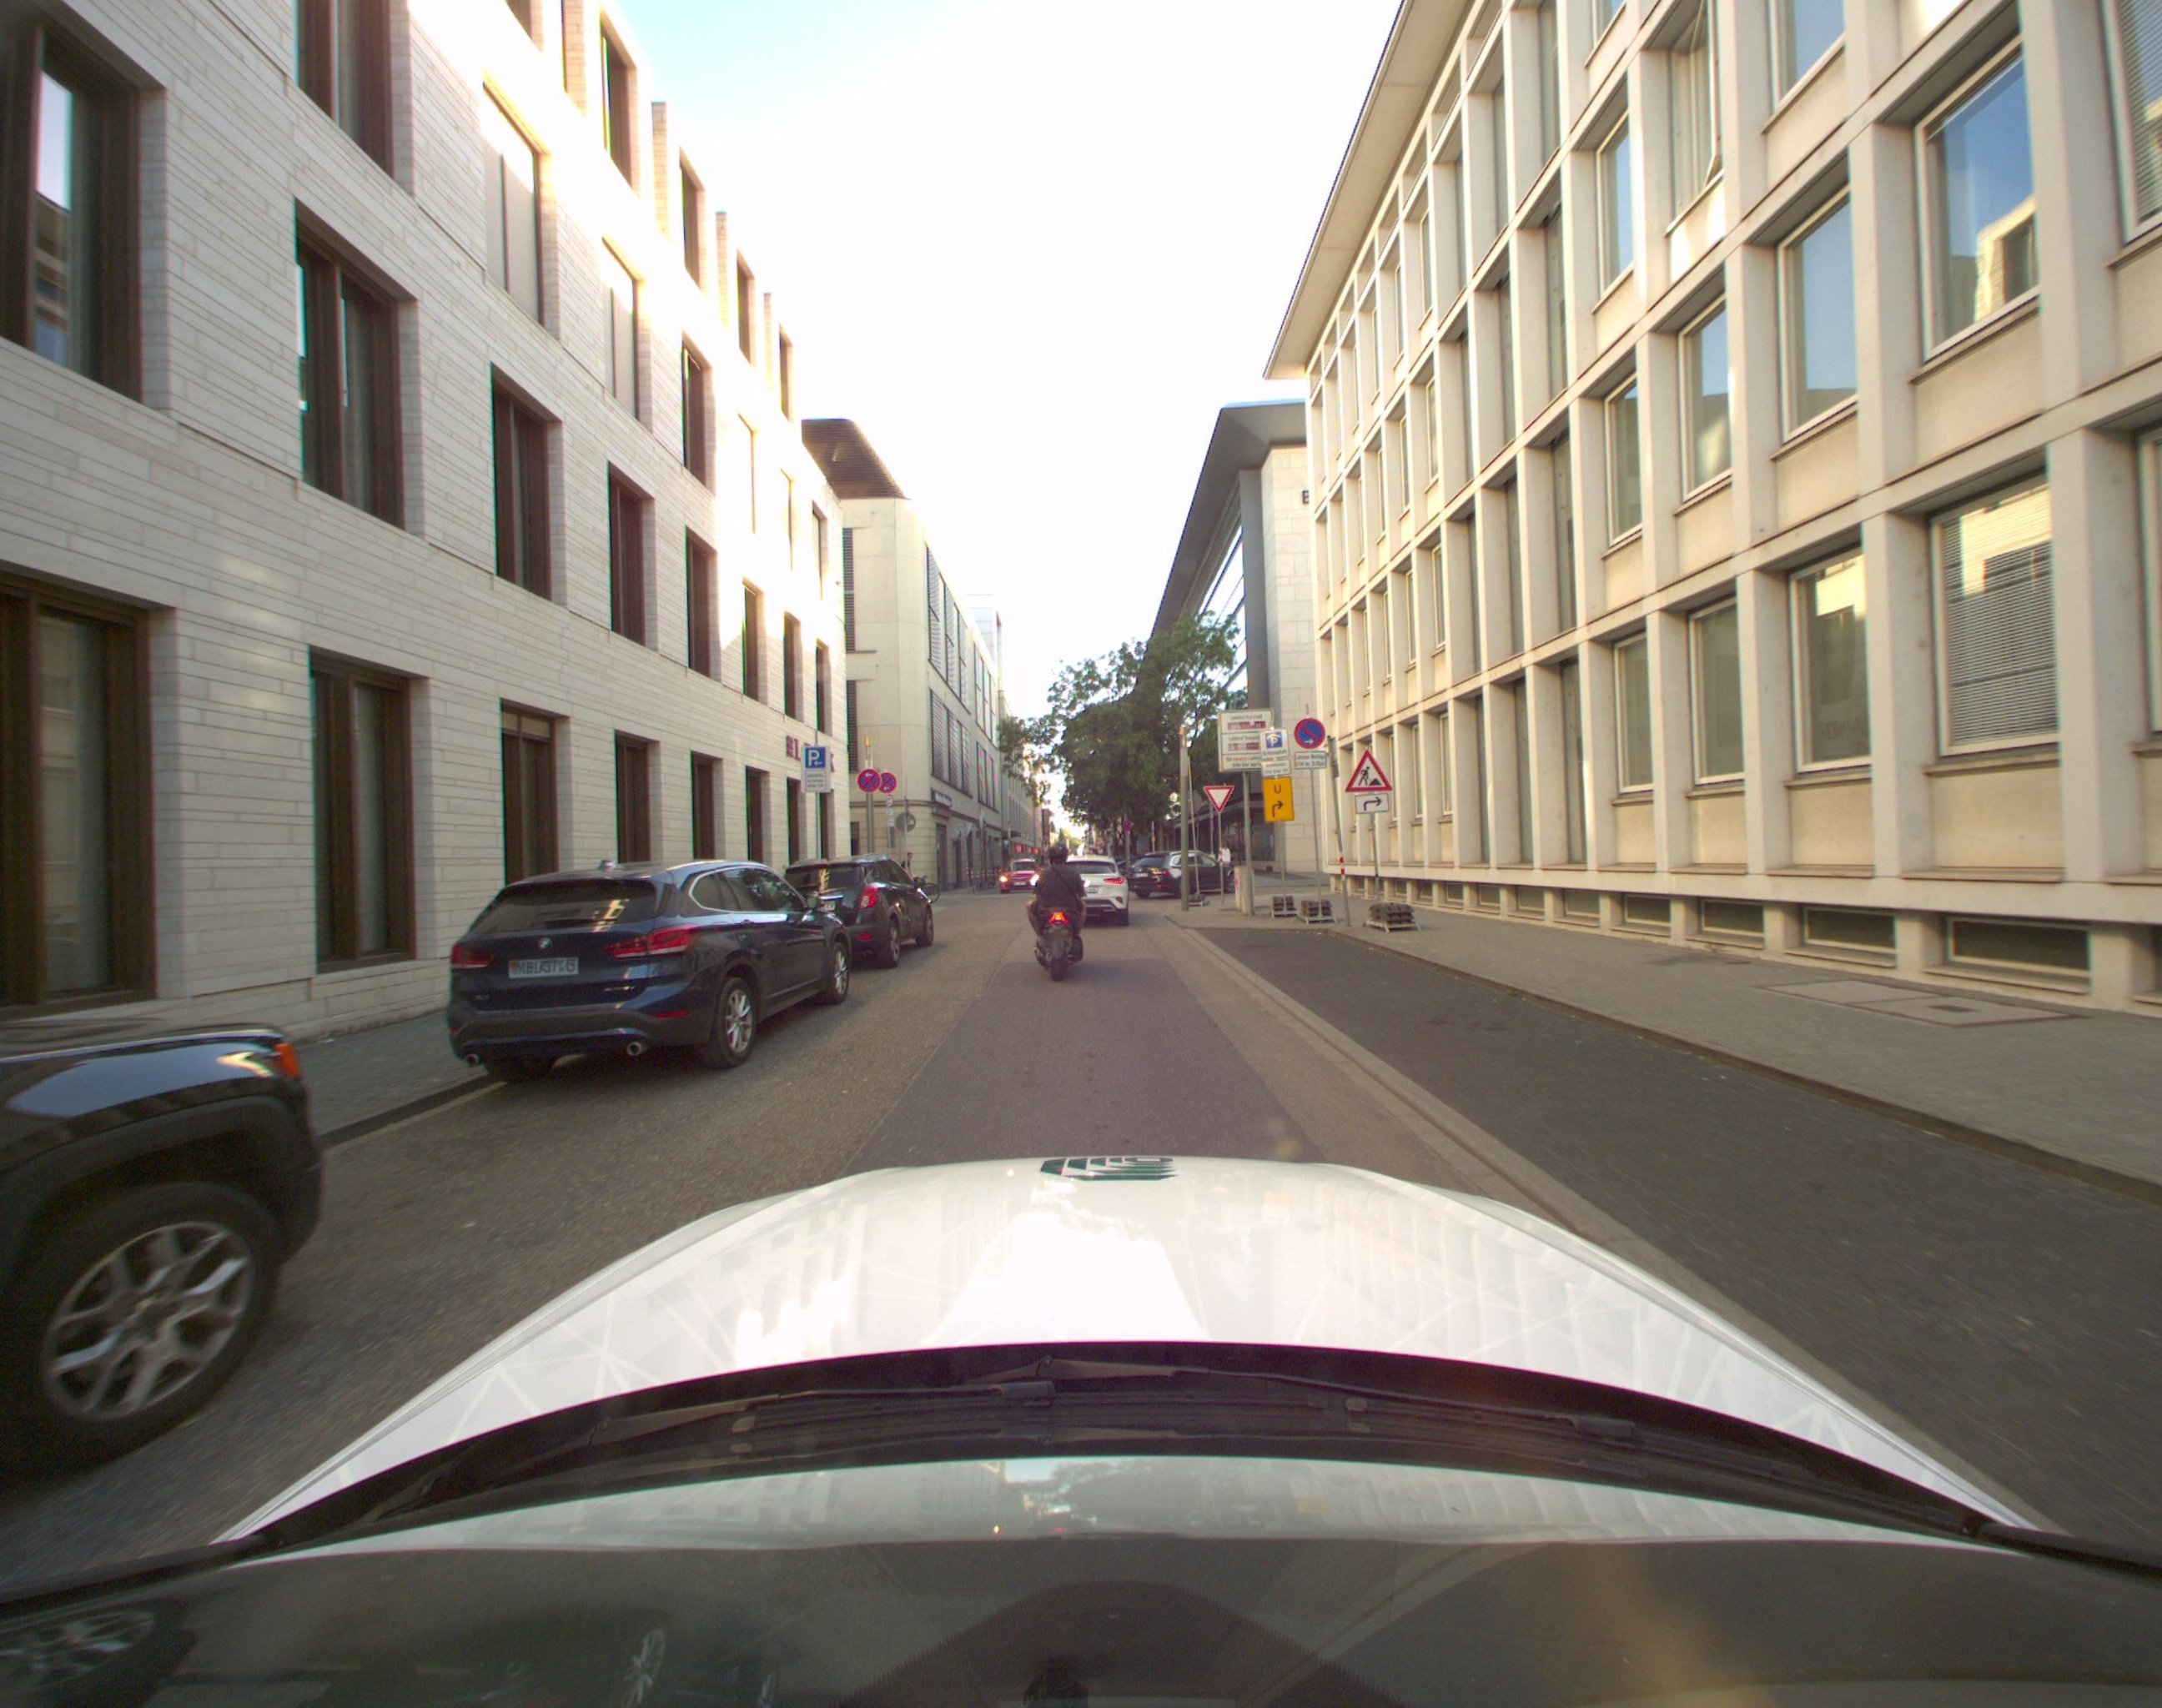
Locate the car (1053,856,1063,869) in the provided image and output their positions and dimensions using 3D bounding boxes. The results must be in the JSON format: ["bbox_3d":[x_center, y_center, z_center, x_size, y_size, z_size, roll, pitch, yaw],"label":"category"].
[{"bbox_3d":[-4.441,1.654,157.998,1.989,2.329,5.016,0,0,-2],"label":"car"}]

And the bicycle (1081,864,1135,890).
[{"bbox_3d":[1.087,0.909,32.864,2.107,0.995,0.515,-1,-1,-18],"label":"bicycle"}]

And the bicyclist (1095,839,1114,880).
[{"bbox_3d":[0.944,0.229,32.838,0.631,1.625,0.495,-1,-1,-18],"label":"bicyclist"}]

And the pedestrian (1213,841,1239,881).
[{"bbox_3d":[6.511,0.298,36.588,0.902,1.706,0.834,-5,-1,1],"label":"pedestrian"}]

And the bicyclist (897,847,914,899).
[{"bbox_3d":[-5.931,0.655,27.544,0.550,1.732,0.499,-1,-1,-11],"label":"bicyclist"}]

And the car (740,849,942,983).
[{"bbox_3d":[-3.574,0.818,13.010,1.816,1.677,4.264,-4,0,0],"label":"car"}]

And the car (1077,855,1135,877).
[{"bbox_3d":[2.187,1.054,72.405,4.993,1.499,1.998,-6,-1,-3],"label":"car"}]

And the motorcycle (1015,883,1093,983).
[{"bbox_3d":[-0.303,0.948,10.389,0.869,1.109,1.840,-1,-1,1],"label":"motorcycle"}]

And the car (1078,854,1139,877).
[{"bbox_3d":[2.297,0.993,69.892,4.993,1.499,1.998,-6,-1,-3],"label":"car"}]

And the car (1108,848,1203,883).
[{"bbox_3d":[4.134,0.629,45.665,4.993,1.451,1.998,-6,-1,-3],"label":"car"}]

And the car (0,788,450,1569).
[{"bbox_3d":[-3.311,0.769,1.025,1.817,1.714,4.016,-4,0,-1],"label":"car"}]

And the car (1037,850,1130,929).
[{"bbox_3d":[0.025,0.709,18.555,1.817,1.541,4.262,-2,0,-1],"label":"car"}]

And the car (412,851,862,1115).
[{"bbox_3d":[-3.445,0.831,7.385,1.735,1.594,4.152,-4,0,-1],"label":"car"}]

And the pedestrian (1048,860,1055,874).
[{"bbox_3d":[-3.441,1.549,95.629,0.729,1.574,0.636,-1,-1,0],"label":"pedestrian"}]

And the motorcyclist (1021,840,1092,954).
[{"bbox_3d":[-0.307,0.551,10.552,0.864,1.427,0.455,-1,-1,0],"label":"motorcyclist"}]

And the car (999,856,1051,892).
[{"bbox_3d":[-2.461,0.935,36.707,1.815,1.465,4.265,-2,-2,2],"label":"car"}]

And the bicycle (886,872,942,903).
[{"bbox_3d":[-5.652,1.128,27.593,1.815,0.973,0.509,-1,-1,-12],"label":"bicycle"}]

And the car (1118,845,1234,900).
[{"bbox_3d":[3.216,0.553,26.691,1.804,1.541,4.393,-1,1,36],"label":"car"}]
